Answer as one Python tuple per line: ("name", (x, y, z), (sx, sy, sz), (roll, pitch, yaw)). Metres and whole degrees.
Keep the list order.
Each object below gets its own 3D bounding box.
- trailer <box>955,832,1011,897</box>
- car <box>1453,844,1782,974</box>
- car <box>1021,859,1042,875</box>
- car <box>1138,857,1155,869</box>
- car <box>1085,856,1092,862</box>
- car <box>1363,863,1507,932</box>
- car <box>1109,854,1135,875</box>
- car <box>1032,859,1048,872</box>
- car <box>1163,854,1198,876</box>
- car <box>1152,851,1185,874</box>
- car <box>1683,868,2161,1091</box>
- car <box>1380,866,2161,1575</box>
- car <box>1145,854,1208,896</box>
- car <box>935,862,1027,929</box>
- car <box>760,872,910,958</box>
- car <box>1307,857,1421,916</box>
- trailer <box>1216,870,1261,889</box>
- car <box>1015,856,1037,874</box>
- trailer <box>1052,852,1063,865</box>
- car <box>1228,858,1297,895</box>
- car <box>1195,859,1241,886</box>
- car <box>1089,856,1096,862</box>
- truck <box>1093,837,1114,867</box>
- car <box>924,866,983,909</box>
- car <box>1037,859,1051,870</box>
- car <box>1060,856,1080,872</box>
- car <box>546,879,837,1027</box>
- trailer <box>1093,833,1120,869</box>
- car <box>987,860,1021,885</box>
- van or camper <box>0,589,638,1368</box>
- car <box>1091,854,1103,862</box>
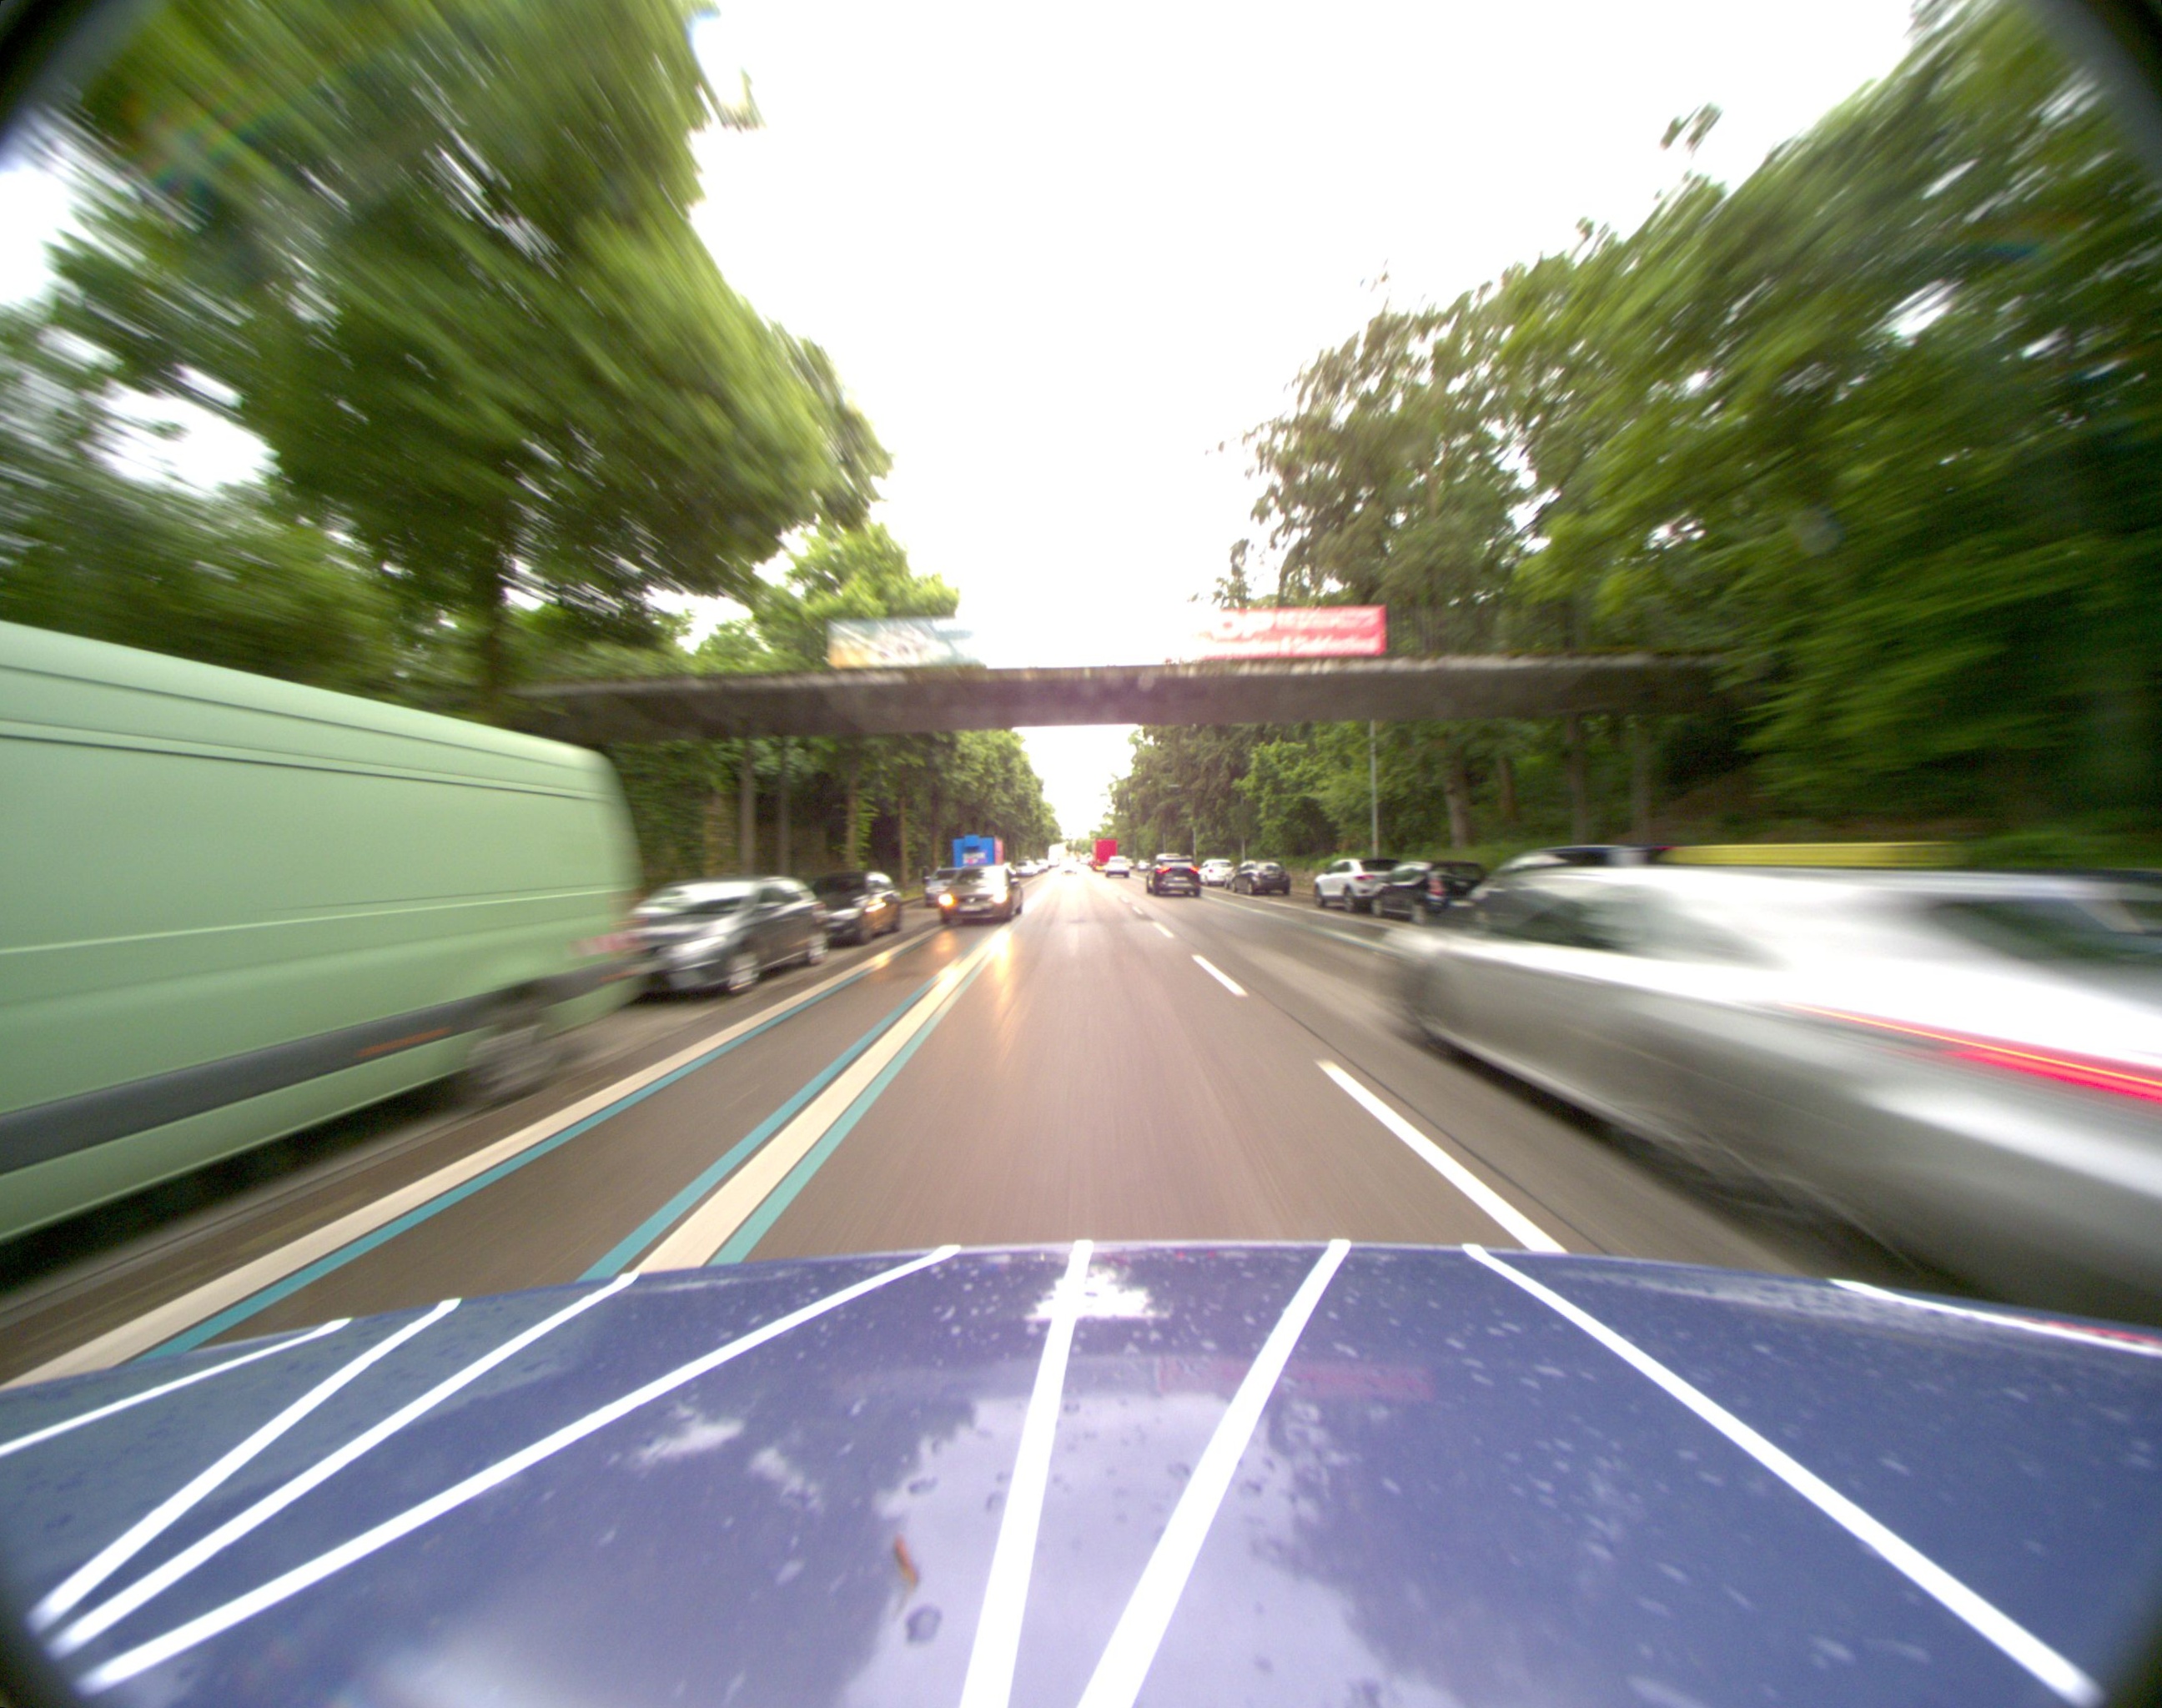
("trailer", (-4.370, 0.457, 34.400), (1.957, 2.742, 4.007), (-2, 0, 0))
("car", (8.434, 0.769, 12.685), (1.995, 1.731, 4.838), (-1, -1, -1))
("car", (-5.114, 1.341, 78.565), (1.702, 1.504, 4.469), (-2, 0, 1))
("car", (8.119, 1.132, 94.116), (1.694, 1.397, 4.028), (-2, -1, 1))
("car", (2.191, 1.520, 232.747), (1.959, 1.629, 4.445), (1, 0, 0))
("car", (8.228, 0.950, 18.049), (1.614, 1.430, 3.843), (-1, -1, 0))
("car", (3.305, 0.852, 62.528), (1.839, 1.656, 4.180), (1, 0, -1))
("car", (-4.937, 1.331, 91.652), (1.702, 1.445, 4.097), (-2, 0, -2))
("car", (7.855, 0.862, 60.319), (2.015, 1.596, 4.779), (-1, -1, -1))
("car", (7.959, 0.797, 69.503), (1.979, 1.993, 5.016), (-2, 0, -5))
("car", (8.485, 0.910, 6.941), (1.989, 1.464, 4.897), (-2, -1, -1))
("car", (3.454, 0.884, 4.010), (1.926, 1.551, 4.620), (0, 0, 0))
("car", (3.871, 0.834, 31.521), (1.971, 1.618, 4.320), (0, 0, -2))
("car", (-2.519, 1.010, 20.114), (1.823, 1.499, 4.139), (-1, 0, 1))
("car", (-4.897, 1.144, 15.773), (1.690, 1.408, 4.197), (-1, 0, 0))
("car", (8.216, 0.892, 22.459), (1.692, 1.537, 4.232), (-1, -1, -1))
("trailer", (8.016, 1.296, 38.934), (1.547, 0.814, 3.304), (-1, 0, -2))
("car", (-5.180, 1.005, 72.302), (1.758, 1.587, 4.739), (-2, 0, -1))
("trailer", (-4.899, 0.950, 157.230), (1.988, 2.550, 3.999), (-2, 0, -3))
("car", (7.810, 0.947, 33.065), (1.836, 1.468, 4.039), (-1, -1, -3))
("car", (7.818, 1.026, 43.618), (1.794, 1.473, 3.982), (0, -1, -2))
("car", (2.768, 1.251, 186.299), (1.780, 1.457, 4.063), (1, 0, 0))
("truck", (3.058, -0.264, 104.006), (2.524, 4.023, 4.916), (1, 0, -1))
("car", (-4.552, 1.172, 27.615), (1.588, 1.345, 3.861), (-2, 0, -3))
("car", (-4.946, 1.403, 101.854), (1.702, 1.445, 3.946), (-2, 0, -1))
("car", (-1.091, 1.006, 80.266), (1.998, 1.588, 4.000), (-2, 0, 0))
("car", (-4.822, 1.126, 10.174), (1.690, 1.408, 4.100), (-2, 0, 1))
("trailer", (3.166, -0.379, 96.225), (2.695, 4.234, 12.767), (1, 0, -1))
("car", (-4.996, 1.167, 49.735), (1.830, 1.494, 4.570), (-1, 0, -1))
("van or camper", (-4.808, 0.460, 3.016), (2.048, 2.713, 6.899), (-2, 0, -1))
("car", (2.858, 0.719, 134.317), (1.920, 1.448, 4.620), (1, 0, 0))
